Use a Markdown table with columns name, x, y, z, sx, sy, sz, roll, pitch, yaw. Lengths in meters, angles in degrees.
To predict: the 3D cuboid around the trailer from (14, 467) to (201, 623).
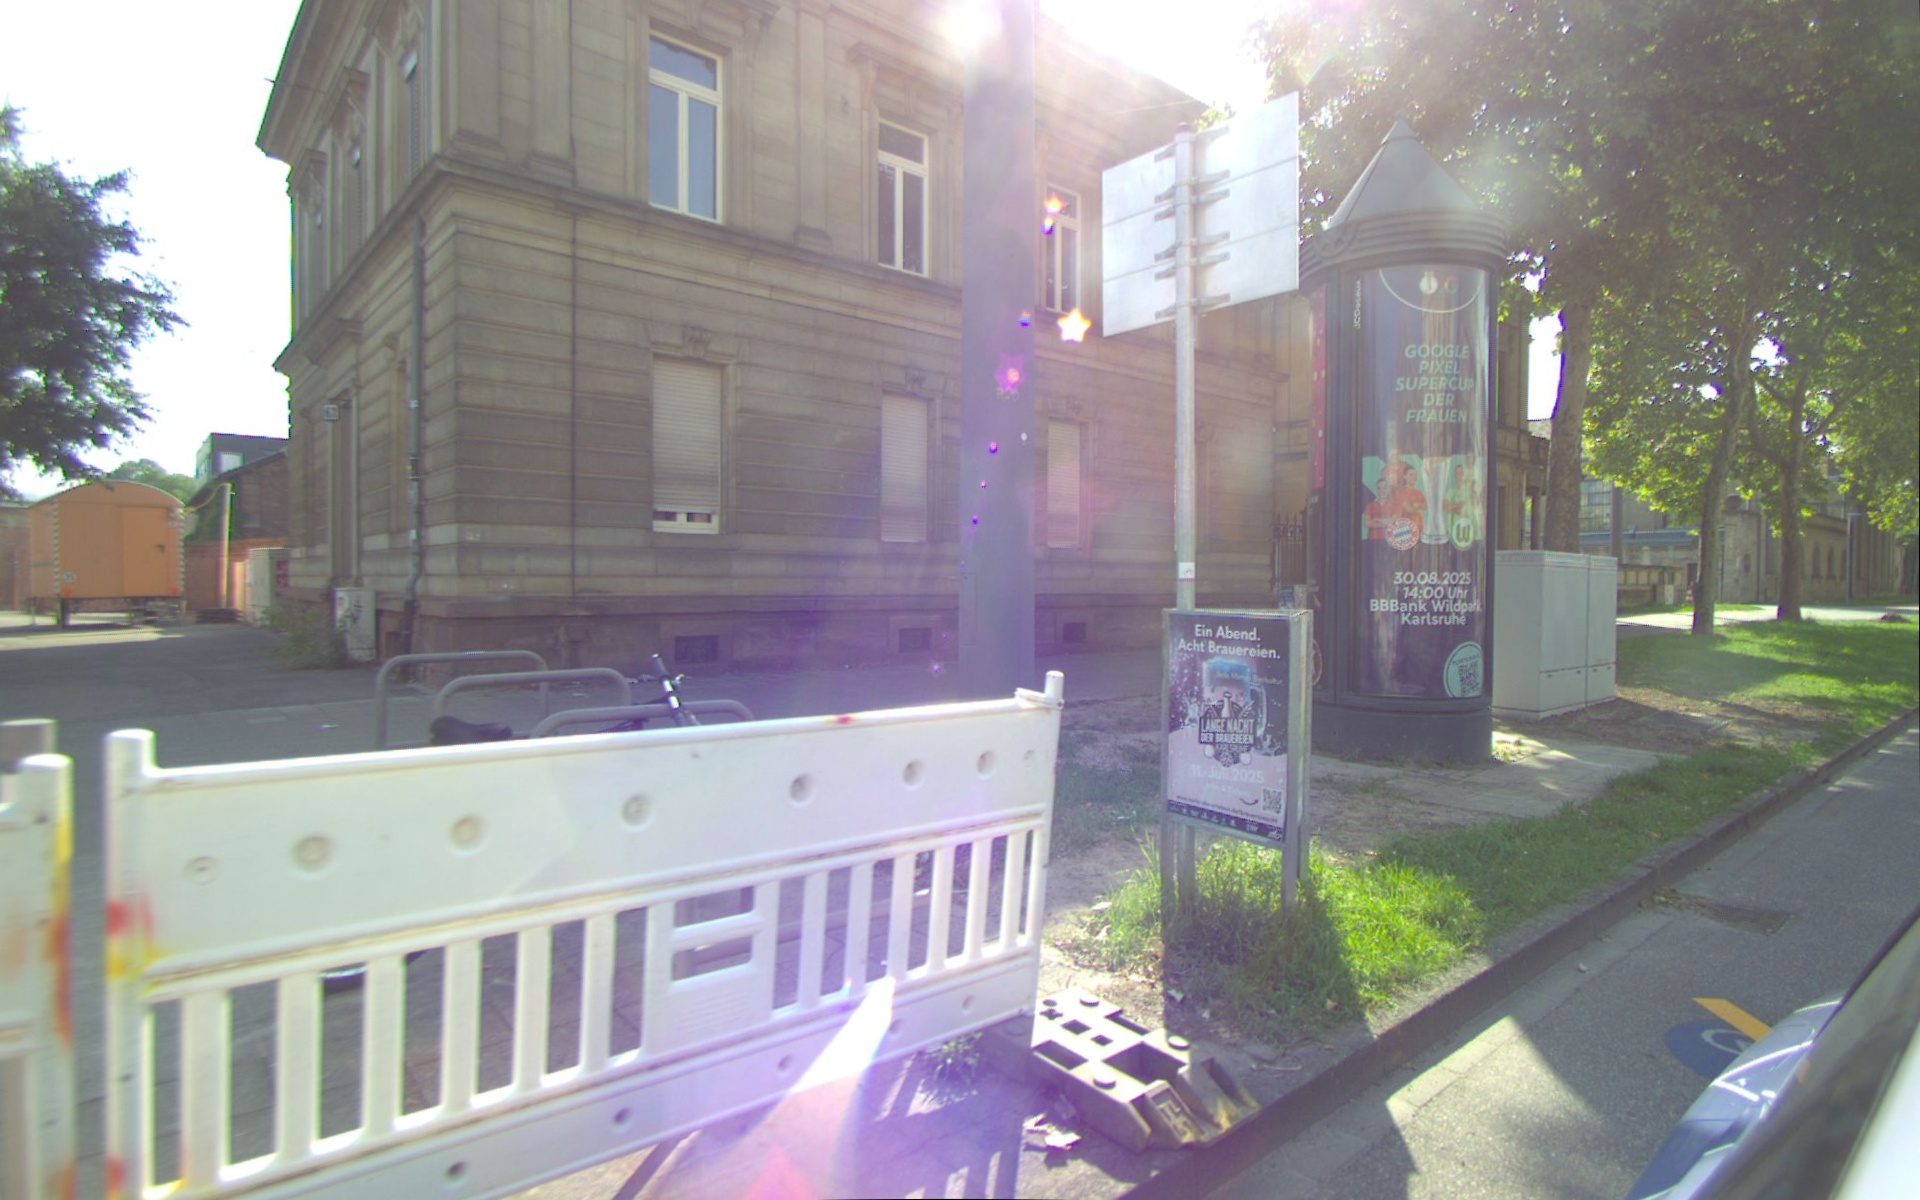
| name | x | y | z | sx | sy | sz | roll | pitch | yaw |
| --- | --- | --- | --- | --- | --- | --- | --- | --- | --- |
| trailer | -18.921 | -1.204 | 22.426 | 3.984 | 3.105 | 2.520 | 2 | 4 | 41 |

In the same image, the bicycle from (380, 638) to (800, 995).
| name | x | y | z | sx | sy | sz | roll | pitch | yaw |
| --- | --- | --- | --- | --- | --- | --- | --- | --- | --- |
| bicycle | -1.269 | 0.672 | 3.621 | 1.351 | 0.999 | 0.411 | -1 | 2 | -39 |
